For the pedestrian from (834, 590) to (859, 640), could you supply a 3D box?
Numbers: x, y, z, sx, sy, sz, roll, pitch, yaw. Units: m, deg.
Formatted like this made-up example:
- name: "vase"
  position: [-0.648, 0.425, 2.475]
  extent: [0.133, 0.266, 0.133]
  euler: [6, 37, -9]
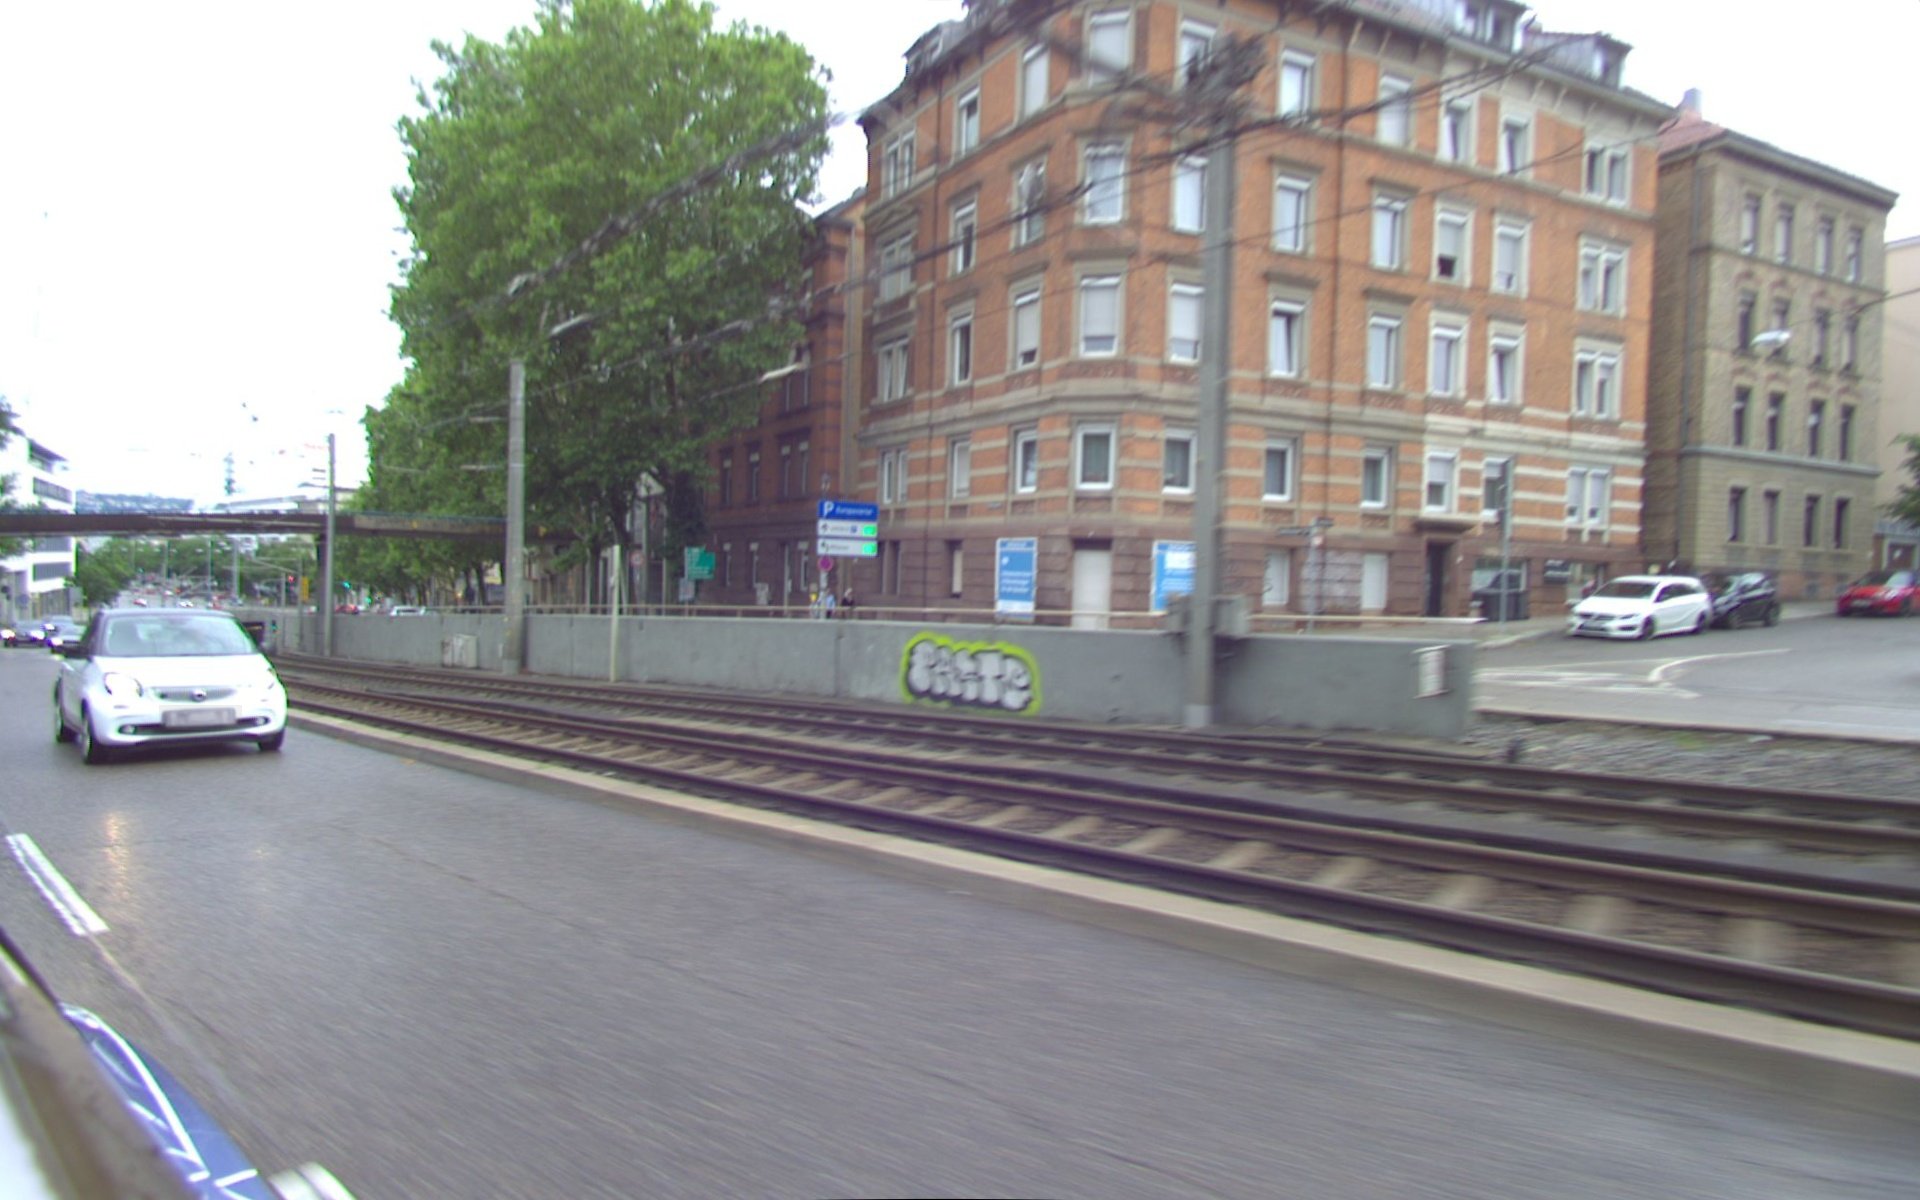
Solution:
- name: "pedestrian"
  position: [-3.879, 0.521, 34.450]
  extent: [0.585, 1.637, 0.725]
  euler: [2, -3, -28]

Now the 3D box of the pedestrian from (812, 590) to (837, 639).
- name: "pedestrian"
  position: [-4.593, 0.493, 34.380]
  extent: [0.585, 1.637, 0.725]
  euler: [2, -3, -28]

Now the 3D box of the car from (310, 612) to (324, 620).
- name: "car"
  position: [-116.555, 2.883, 183.413]
  extent: [1.770, 1.522, 4.009]
  euler: [-1, 0, -36]

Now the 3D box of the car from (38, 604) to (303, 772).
- name: "car"
  position: [-8.981, 0.847, 11.384]
  extent: [4.001, 1.549, 1.774]
  euler: [-1, -2, 44]

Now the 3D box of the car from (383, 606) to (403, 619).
- name: "car"
  position: [-69.546, 1.584, 124.050]
  extent: [1.770, 1.522, 4.684]
  euler: [-1, 0, -34]

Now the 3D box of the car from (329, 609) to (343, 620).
- name: "car"
  position: [-113.426, 2.653, 183.903]
  extent: [1.929, 1.866, 4.981]
  euler: [-1, 0, -33]

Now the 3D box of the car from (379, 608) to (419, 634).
- name: "car"
  position: [-37.791, 1.399, 68.143]
  extent: [1.771, 1.623, 4.368]
  euler: [-1, 0, -37]

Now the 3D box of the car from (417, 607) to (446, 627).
- name: "car"
  position: [-44.851, 1.414, 85.835]
  extent: [1.770, 1.623, 4.370]
  euler: [-1, 0, -33]

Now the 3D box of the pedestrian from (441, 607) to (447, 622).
- name: "pedestrian"
  position: [-61.664, 1.698, 120.997]
  extent: [0.516, 1.761, 0.623]
  euler: [-3, 1, -26]

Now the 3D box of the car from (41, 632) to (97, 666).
- name: "car"
  position: [-46.528, 2.518, 52.914]
  extent: [1.770, 1.521, 4.010]
  euler: [-2, 1, -36]

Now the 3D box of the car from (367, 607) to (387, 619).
- name: "car"
  position: [-85.824, 1.927, 148.870]
  extent: [1.853, 1.778, 4.911]
  euler: [-1, 0, -38]

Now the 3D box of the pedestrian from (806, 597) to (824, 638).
- name: "pedestrian"
  position: [-4.835, 0.601, 33.746]
  extent: [0.330, 1.344, 0.505]
  euler: [4, -4, -42]

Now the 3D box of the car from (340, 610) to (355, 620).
- name: "car"
  position: [-97.379, 2.373, 160.862]
  extent: [1.770, 1.522, 4.119]
  euler: [-1, 0, -34]

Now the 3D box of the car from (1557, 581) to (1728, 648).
- name: "car"
  position: [17.876, 0.312, 26.492]
  extent: [4.284, 1.513, 1.912]
  euler: [-2, 3, -29]

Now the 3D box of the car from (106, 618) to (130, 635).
- name: "car"
  position: [-84.956, 2.638, 102.157]
  extent: [1.771, 1.623, 4.367]
  euler: [-1, 0, -39]

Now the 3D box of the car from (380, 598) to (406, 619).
- name: "car"
  position: [-73.660, 1.135, 131.459]
  extent: [2.419, 2.682, 6.950]
  euler: [-1, 0, -34]

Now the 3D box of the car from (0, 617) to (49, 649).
- name: "car"
  position: [-54.260, 1.876, 58.624]
  extent: [1.770, 1.678, 4.010]
  euler: [-2, 1, -36]

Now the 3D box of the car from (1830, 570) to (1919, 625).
- name: "car"
  position: [29.442, -0.123, 31.854]
  extent: [3.749, 1.513, 1.755]
  euler: [-2, 4, -27]

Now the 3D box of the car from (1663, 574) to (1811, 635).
- name: "car"
  position: [22.274, 0.084, 28.999]
  extent: [3.888, 1.513, 1.912]
  euler: [-2, 4, -29]

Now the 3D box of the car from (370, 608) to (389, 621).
- name: "car"
  position: [-80.421, 1.980, 140.152]
  extent: [1.852, 1.778, 4.913]
  euler: [-1, 0, -34]

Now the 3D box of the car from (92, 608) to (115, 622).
- name: "car"
  position: [-102.904, 1.757, 121.604]
  extent: [1.770, 1.521, 4.010]
  euler: [-2, 1, -36]

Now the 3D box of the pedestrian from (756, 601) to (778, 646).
- name: "pedestrian"
  position: [-7.202, 0.890, 37.768]
  extent: [0.585, 1.637, 0.725]
  euler: [2, -3, -28]

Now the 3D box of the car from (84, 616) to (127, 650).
- name: "car"
  position: [-55.619, 2.128, 65.906]
  extent: [1.770, 2.047, 4.010]
  euler: [-2, 1, -36]
